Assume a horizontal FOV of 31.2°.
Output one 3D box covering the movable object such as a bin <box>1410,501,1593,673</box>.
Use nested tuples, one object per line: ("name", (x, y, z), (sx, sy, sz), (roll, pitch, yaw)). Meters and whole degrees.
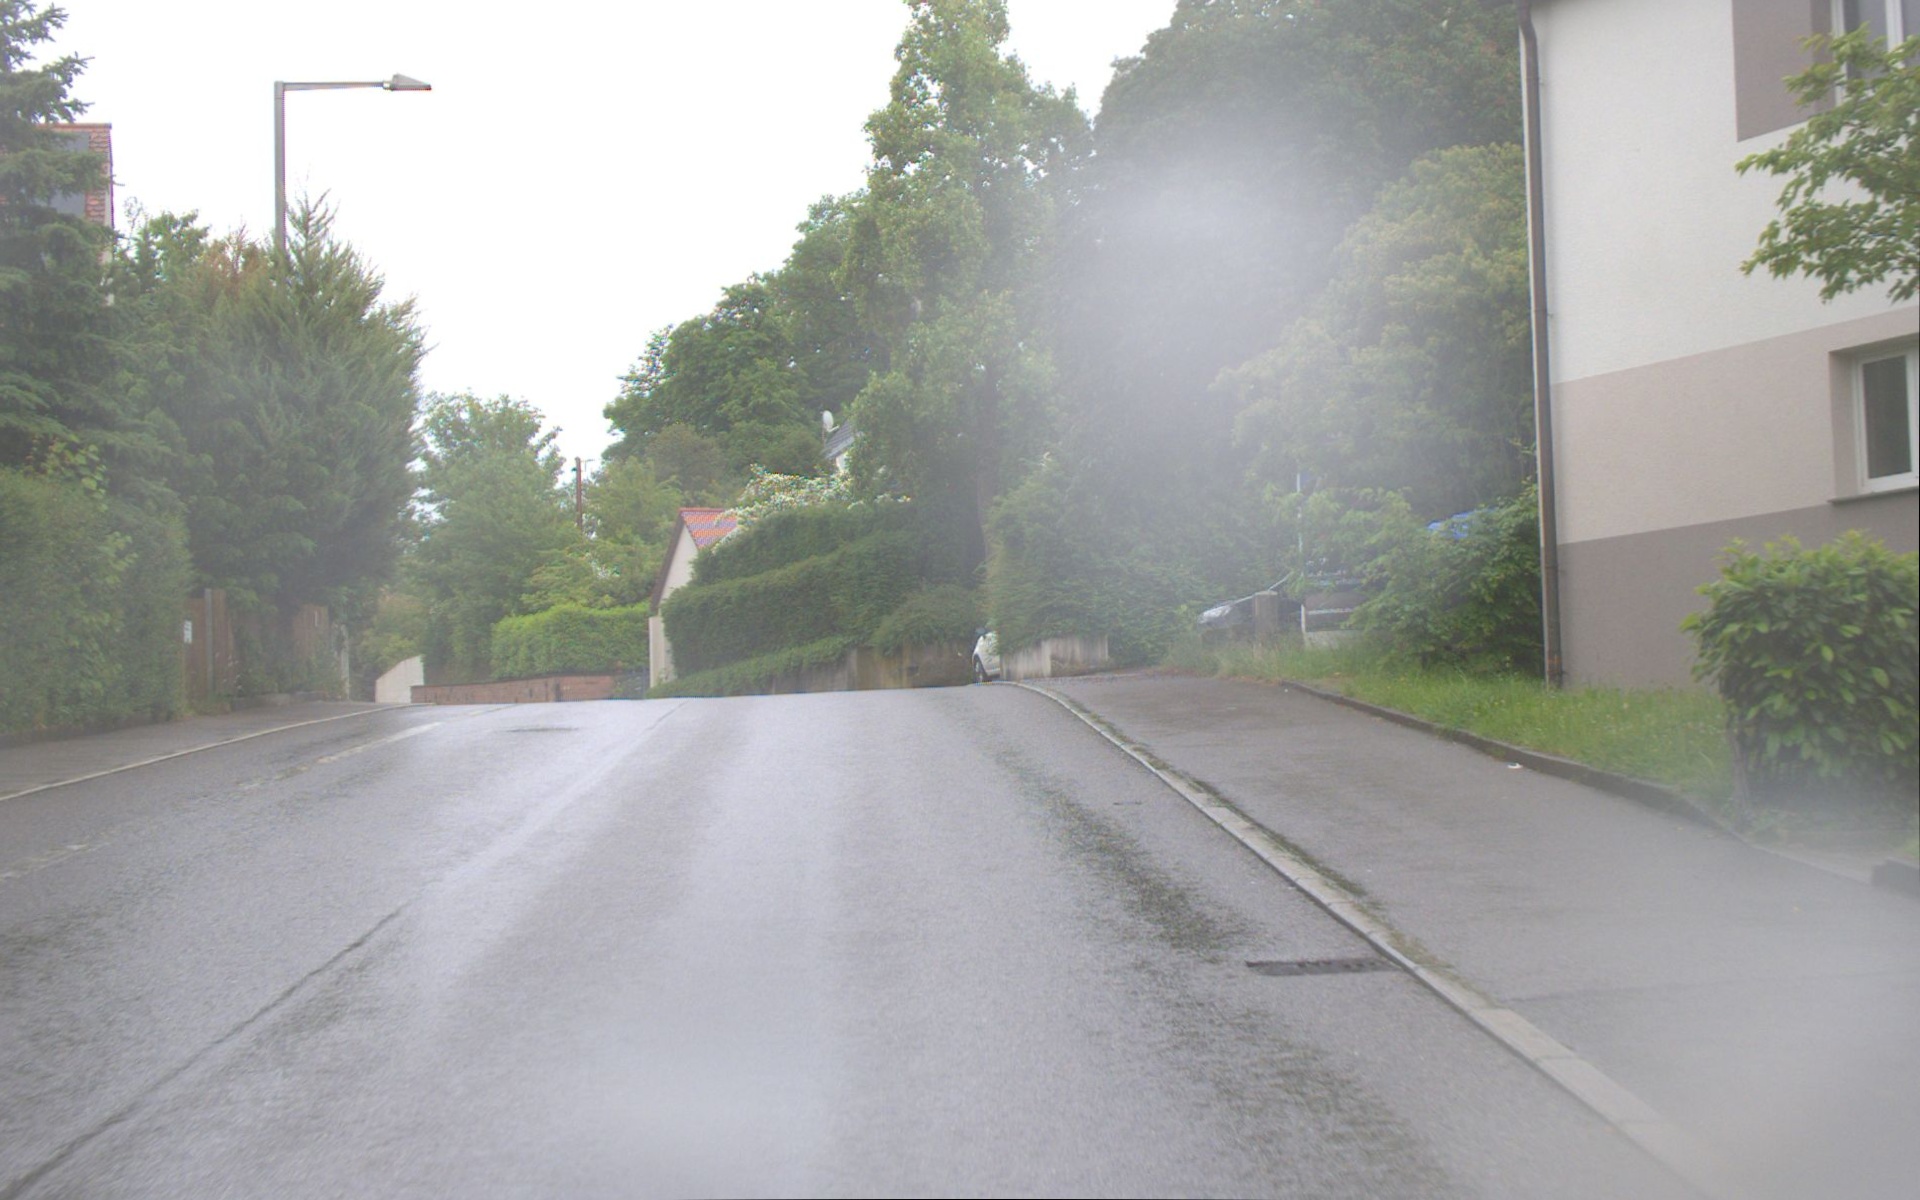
("movable object such as a bin", (4.891, -0.118, 31.078), (1.240, 1.492, 0.983), (-2, 0, -35))

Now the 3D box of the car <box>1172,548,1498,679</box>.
("car", (5.187, 0.191, 47.307), (4.333, 1.710, 1.728), (0, -2, 11))

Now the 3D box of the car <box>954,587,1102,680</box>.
("car", (1.248, 0.653, 64.881), (1.531, 1.530, 3.846), (-6, 0, -17))
